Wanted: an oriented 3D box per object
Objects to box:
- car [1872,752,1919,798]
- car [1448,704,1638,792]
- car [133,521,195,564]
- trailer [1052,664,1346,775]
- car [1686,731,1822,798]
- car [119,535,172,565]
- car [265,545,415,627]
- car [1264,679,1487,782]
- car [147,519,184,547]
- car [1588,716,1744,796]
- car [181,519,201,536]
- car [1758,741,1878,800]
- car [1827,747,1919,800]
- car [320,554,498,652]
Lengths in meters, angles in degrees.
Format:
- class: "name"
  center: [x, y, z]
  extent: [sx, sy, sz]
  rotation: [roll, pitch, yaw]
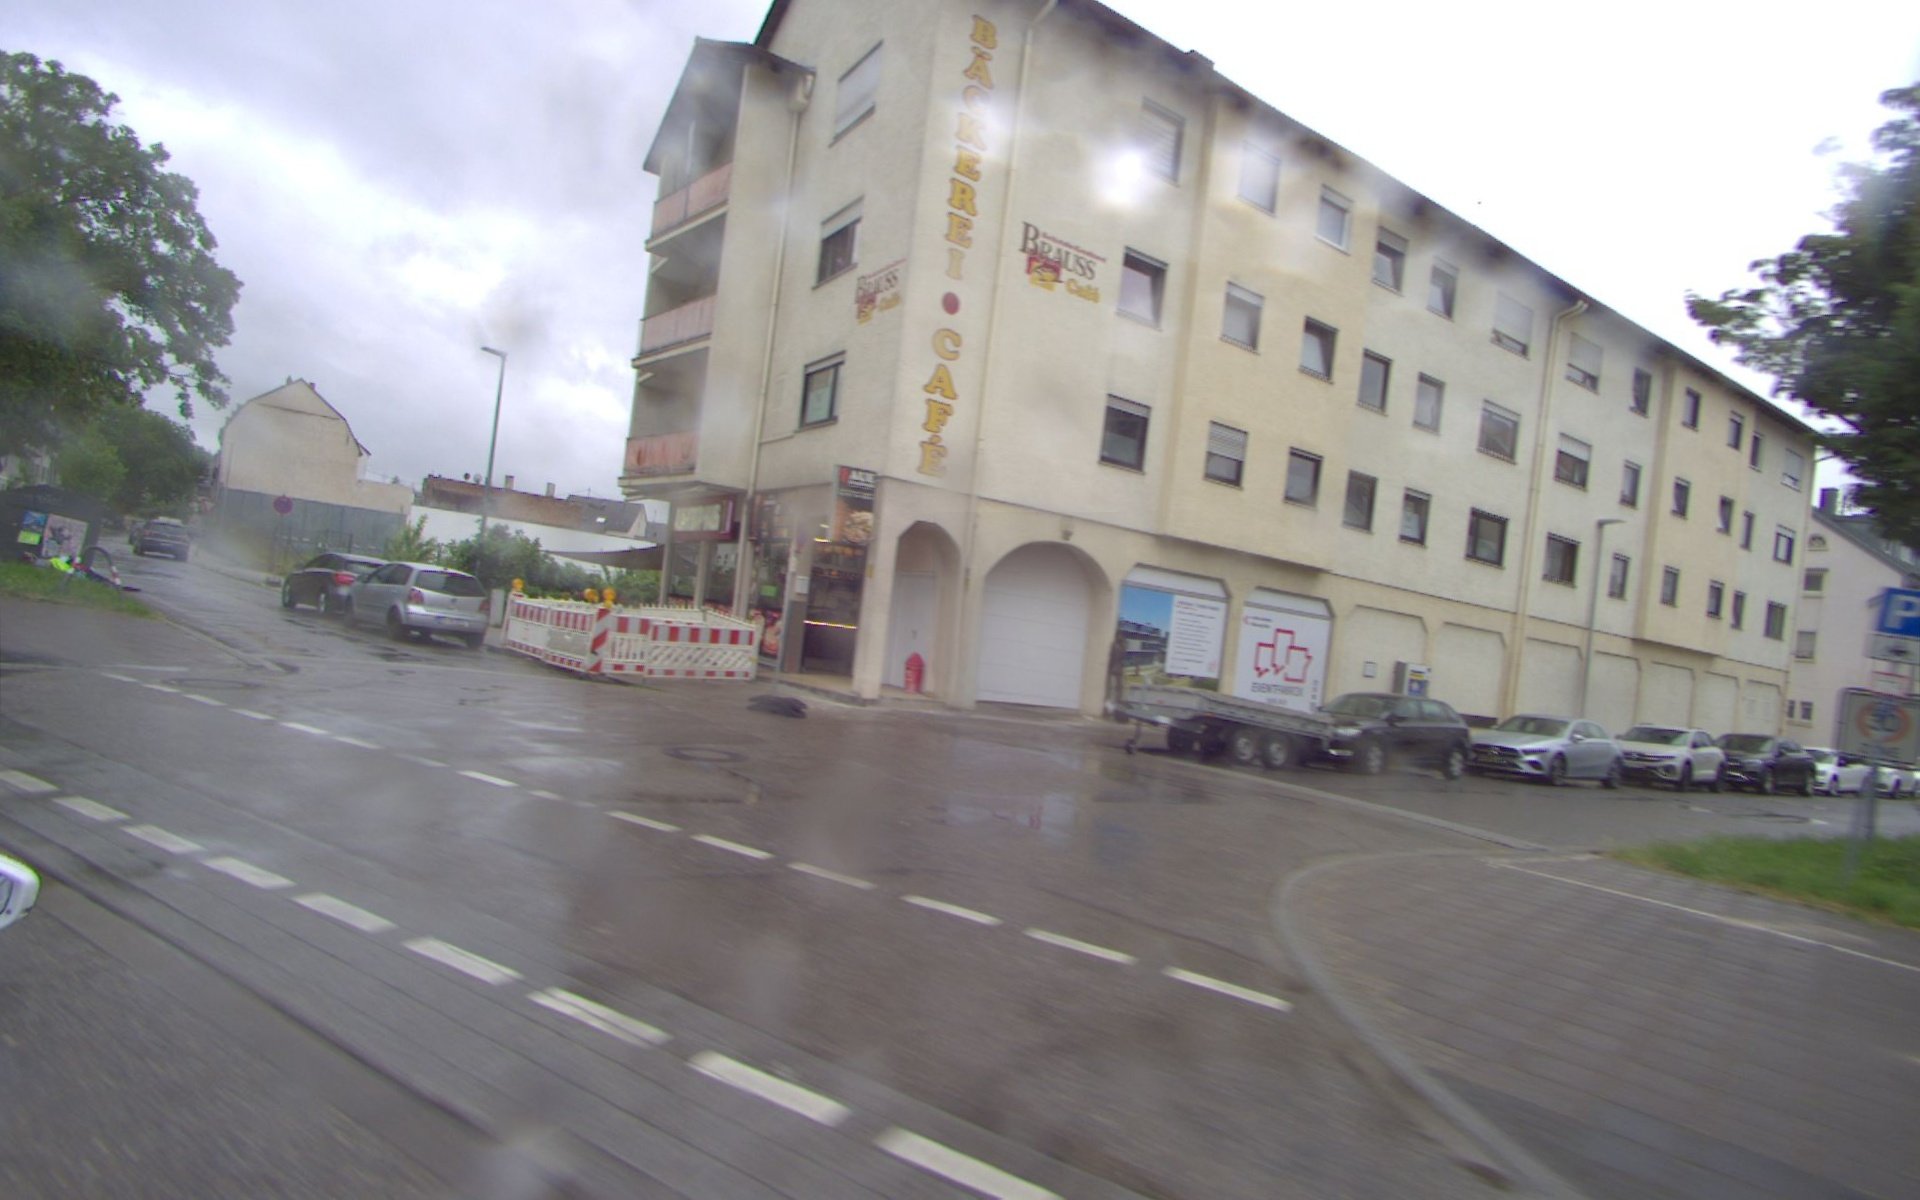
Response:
- class: "car"
  center: [34.928, 6.459, 36.605]
  extent: [3.675, 1.405, 1.723]
  rotation: [9, -2, -34]
- class: "car"
  center: [12.355, 3.142, 21.250]
  extent: [4.139, 1.419, 1.723]
  rotation: [9, -2, -33]
- class: "car"
  center: [-37.027, -2.683, 46.757]
  extent: [1.849, 1.673, 4.254]
  rotation: [8, -2, -42]
- class: "trailer"
  center: [3.875, 1.927, 16.094]
  extent: [4.486, 1.246, 1.811]
  rotation: [8, -2, -30]
- class: "car"
  center: [21.969, 4.558, 27.788]
  extent: [4.141, 1.444, 1.723]
  rotation: [9, -2, -34]
- class: "car"
  center: [-51.356, -3.153, 63.531]
  extent: [1.962, 1.566, 4.492]
  rotation: [8, -2, -33]
- class: "car"
  center: [-14.425, -0.358, 23.314]
  extent: [4.099, 1.450, 1.696]
  rotation: [5, -2, 41]
- class: "car"
  center: [7.642, 2.410, 18.426]
  extent: [3.961, 1.419, 1.724]
  rotation: [8, -2, -32]
- class: "car"
  center: [-75.744, -6.397, 95.953]
  extent: [2.337, 2.234, 4.569]
  rotation: [8, -2, -36]
- class: "car"
  center: [17.444, 3.870, 24.818]
  extent: [4.141, 1.533, 1.723]
  rotation: [9, -2, -34]
- class: "car"
  center: [-106.930, -10.060, 139.950]
  extent: [1.984, 2.037, 3.961]
  rotation: [8, -2, -37]
- class: "car"
  center: [26.491, 5.273, 31.017]
  extent: [4.141, 1.405, 1.723]
  rotation: [9, -2, -34]
- class: "car"
  center: [31.303, 5.916, 34.259]
  extent: [3.675, 1.405, 1.722]
  rotation: [8, -1, -34]
- class: "car"
  center: [-10.887, 0.022, 19.751]
  extent: [4.118, 1.450, 1.633]
  rotation: [5, -2, 41]
